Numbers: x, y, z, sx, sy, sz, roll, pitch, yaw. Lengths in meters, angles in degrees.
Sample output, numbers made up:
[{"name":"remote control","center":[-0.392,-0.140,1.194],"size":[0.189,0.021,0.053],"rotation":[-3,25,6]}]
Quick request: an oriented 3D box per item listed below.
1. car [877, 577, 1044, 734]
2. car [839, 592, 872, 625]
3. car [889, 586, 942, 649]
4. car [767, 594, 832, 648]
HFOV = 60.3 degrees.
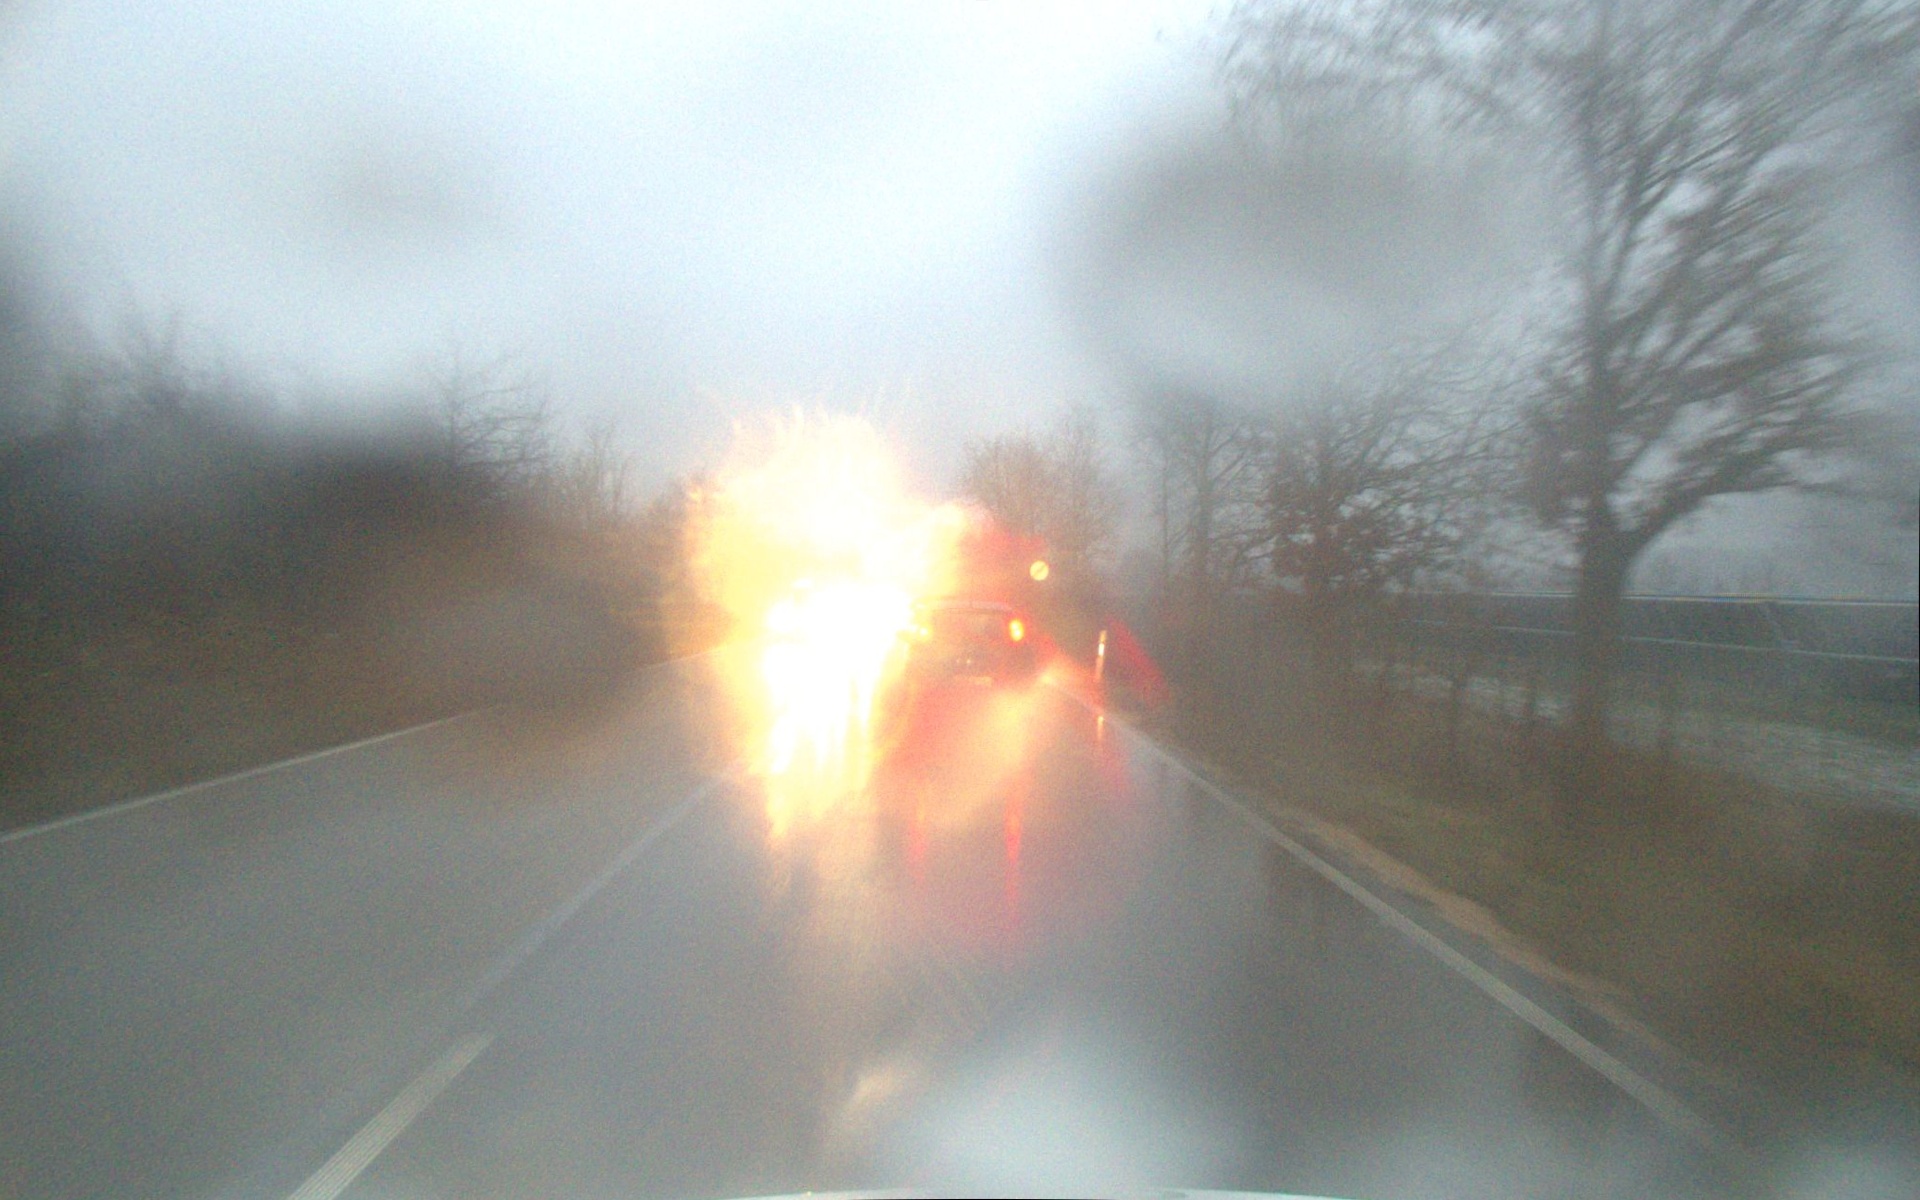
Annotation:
[{"name":"car","center":[0.005,0.664,21.752],"size":[1.953,1.816,4.000],"rotation":[2,0,0]},{"name":"car","center":[-5.602,0.441,88.772],"size":[1.717,1.676,4.046],"rotation":[1,0,-3]},{"name":"car","center":[-1.372,0.534,52.567],"size":[1.542,1.907,3.709],"rotation":[1,0,0]},{"name":"car","center":[-4.910,0.619,51.076],"size":[1.657,1.557,4.084],"rotation":[2,0,-1]}]
